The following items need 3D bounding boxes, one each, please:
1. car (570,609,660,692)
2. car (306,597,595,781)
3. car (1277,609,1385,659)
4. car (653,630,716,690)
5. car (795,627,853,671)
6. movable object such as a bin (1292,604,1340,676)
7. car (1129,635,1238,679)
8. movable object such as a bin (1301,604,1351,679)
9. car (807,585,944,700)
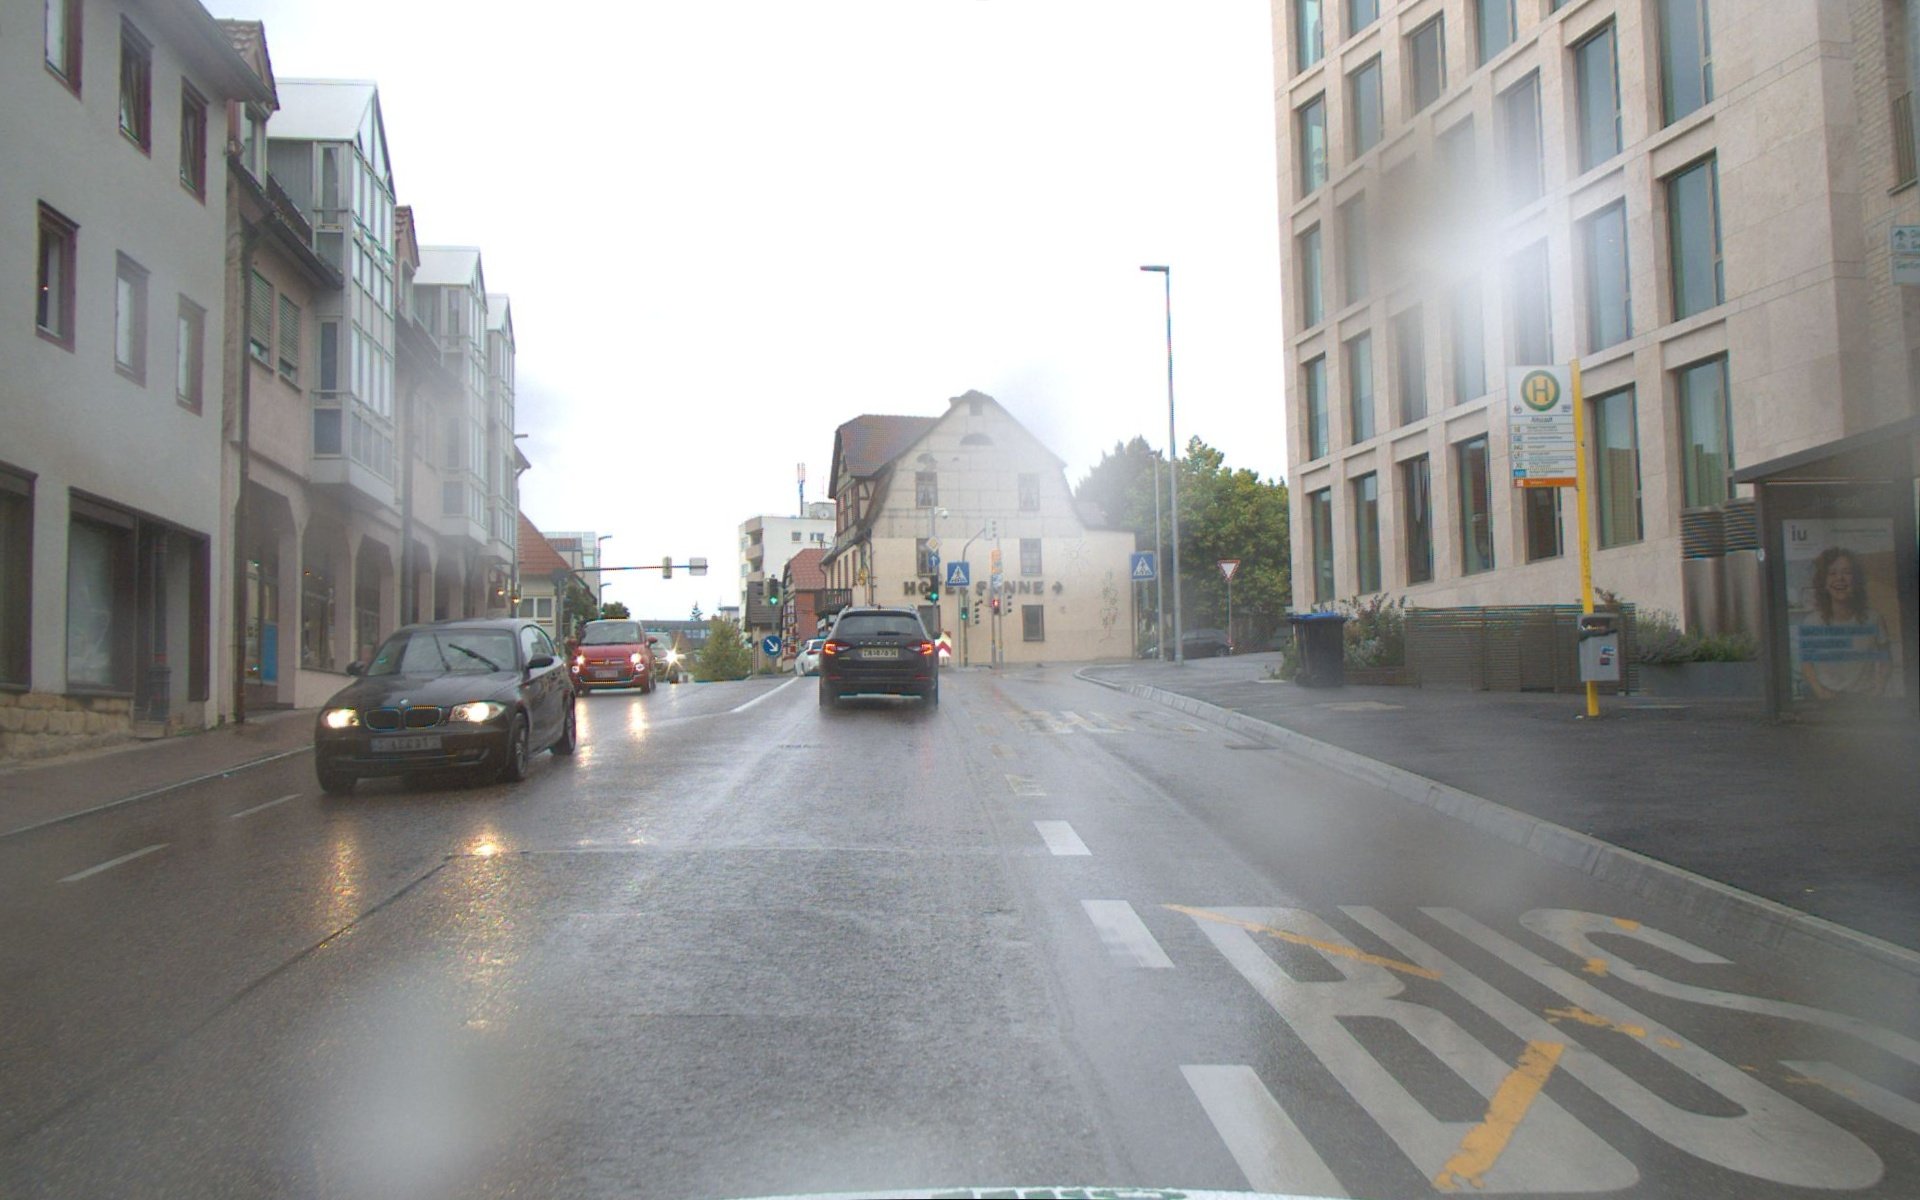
[{"bbox_3d":[-7.066,0.997,34.109,1.530,1.562,3.443,-2,0,-8],"label":"car"},{"bbox_3d":[-4.601,0.728,15.500,1.654,1.469,3.907,-1,0,-3],"label":"car"},{"bbox_3d":[16.378,1.521,73.113,4.231,1.847,1.771,-3,-5,-16],"label":"car"},{"bbox_3d":[-8.294,1.786,50.115,1.749,1.658,4.208,-1,0,-8],"label":"car"},{"bbox_3d":[-5.047,1.789,61.137,1.852,1.493,3.992,-2,-1,-8],"label":"car"},{"bbox_3d":[5.422,0.604,25.209,0.583,1.081,0.579,-1,0,-1],"label":"movable object such as a bin"},{"bbox_3d":[9.623,2.454,71.225,4.234,1.531,1.770,-3,-5,-17],"label":"car"},{"bbox_3d":[5.410,0.609,24.466,0.583,1.081,0.579,-1,0,-1],"label":"movable object such as a bin"},{"bbox_3d":[-1.302,0.603,25.504,1.906,1.594,4.414,-1,0,-3],"label":"car"}]
